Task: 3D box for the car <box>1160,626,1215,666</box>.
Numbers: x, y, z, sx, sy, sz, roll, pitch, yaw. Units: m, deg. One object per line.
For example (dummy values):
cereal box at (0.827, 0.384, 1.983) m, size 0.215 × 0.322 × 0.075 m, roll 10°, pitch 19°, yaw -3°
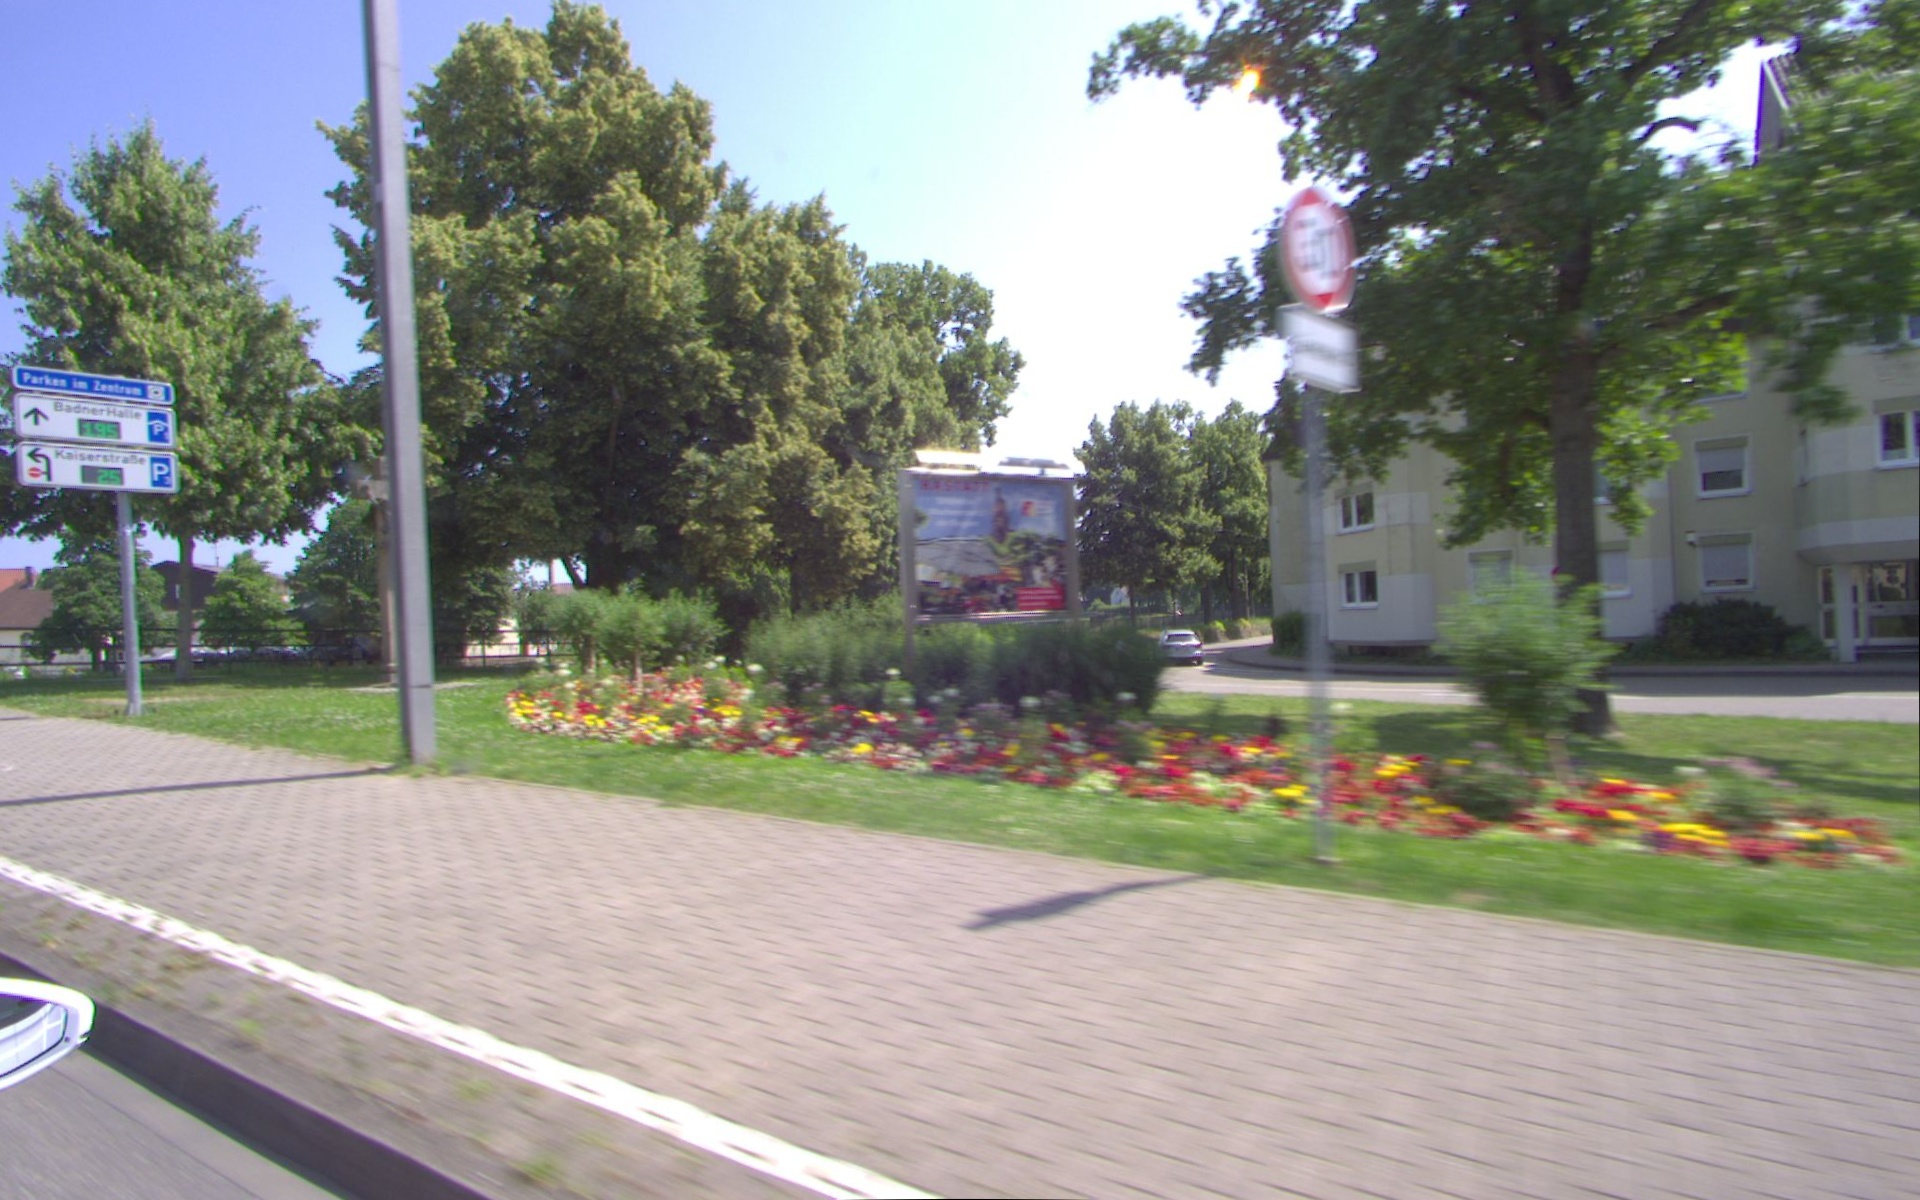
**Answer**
car at (9.444, 1.904, 41.842) m, size 1.863 × 1.518 × 4.530 m, roll -2°, pitch -2°, yaw 9°
